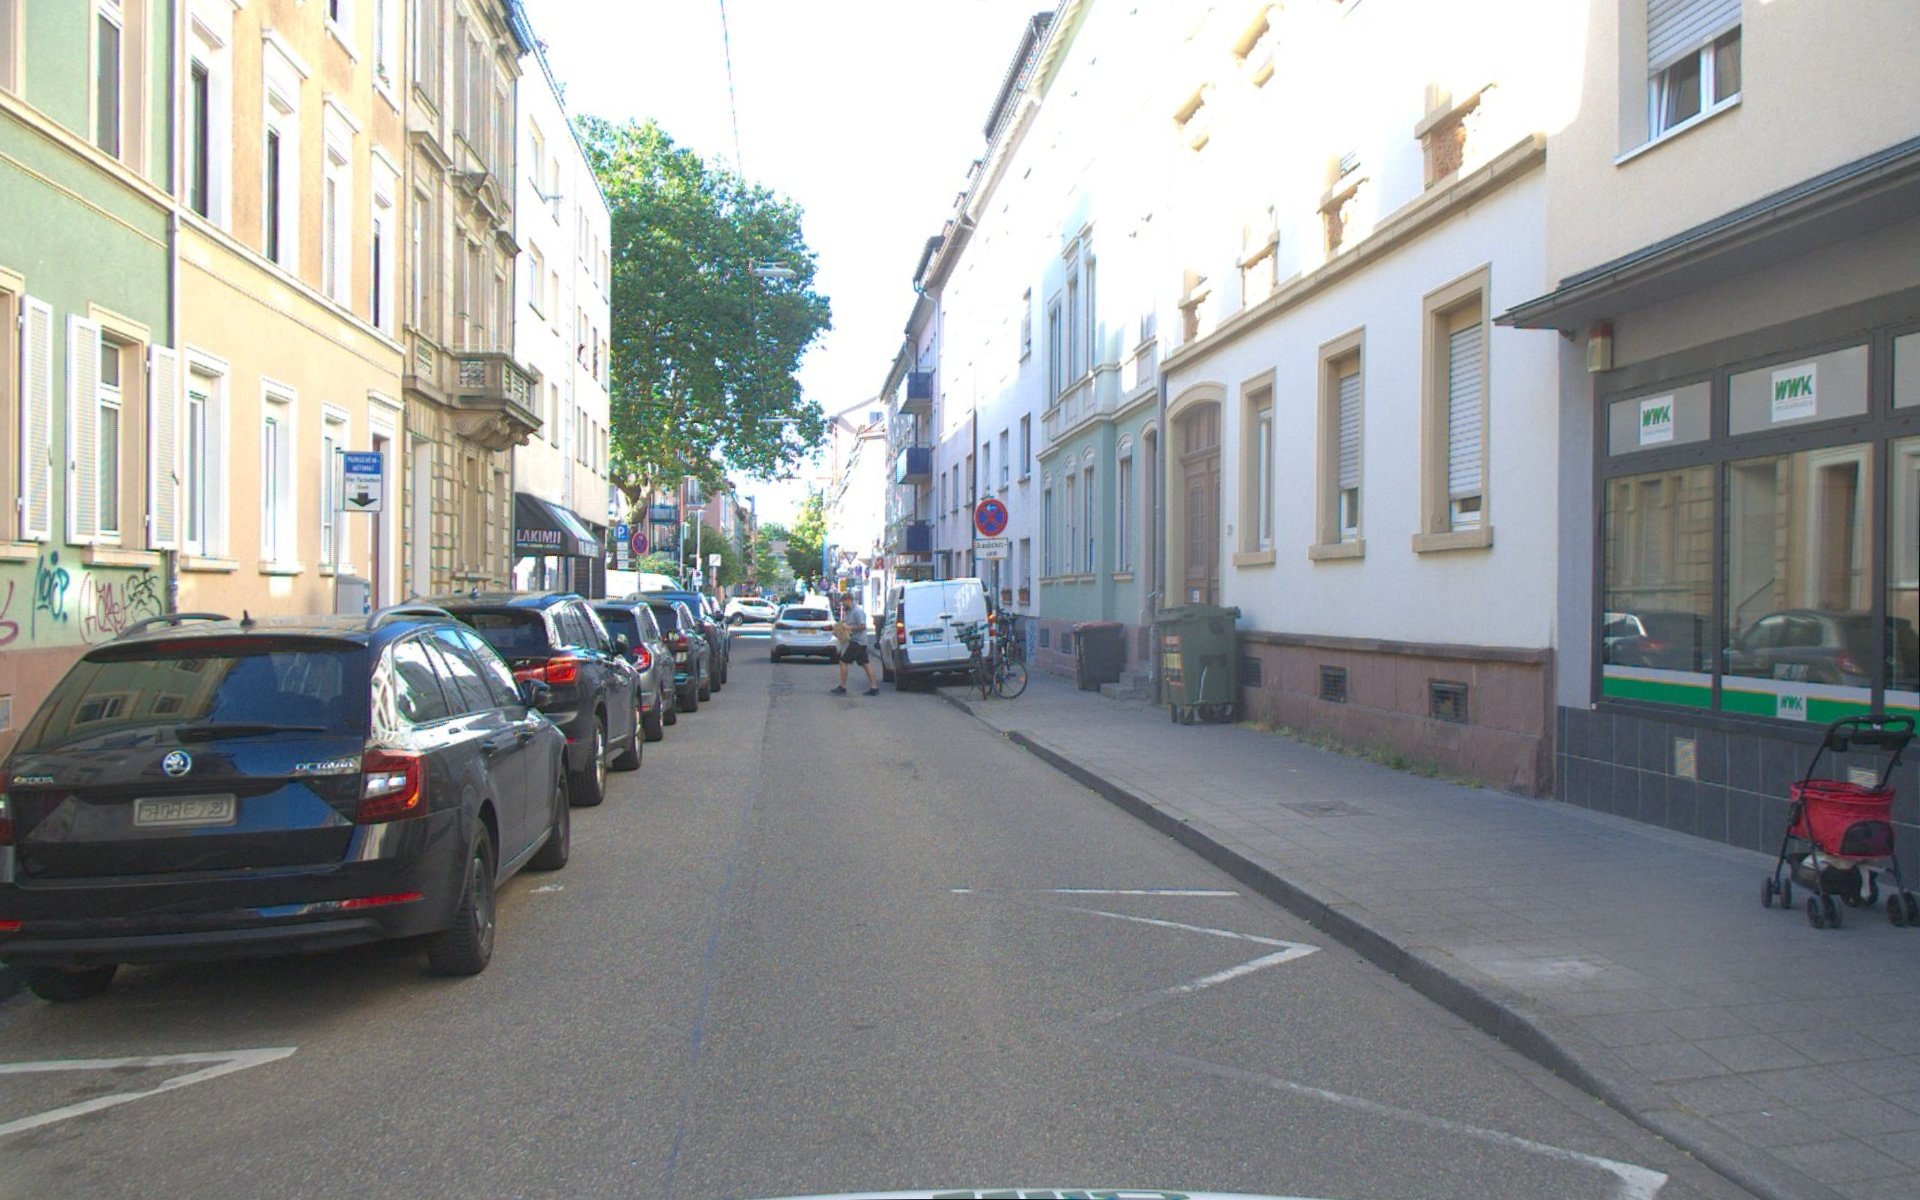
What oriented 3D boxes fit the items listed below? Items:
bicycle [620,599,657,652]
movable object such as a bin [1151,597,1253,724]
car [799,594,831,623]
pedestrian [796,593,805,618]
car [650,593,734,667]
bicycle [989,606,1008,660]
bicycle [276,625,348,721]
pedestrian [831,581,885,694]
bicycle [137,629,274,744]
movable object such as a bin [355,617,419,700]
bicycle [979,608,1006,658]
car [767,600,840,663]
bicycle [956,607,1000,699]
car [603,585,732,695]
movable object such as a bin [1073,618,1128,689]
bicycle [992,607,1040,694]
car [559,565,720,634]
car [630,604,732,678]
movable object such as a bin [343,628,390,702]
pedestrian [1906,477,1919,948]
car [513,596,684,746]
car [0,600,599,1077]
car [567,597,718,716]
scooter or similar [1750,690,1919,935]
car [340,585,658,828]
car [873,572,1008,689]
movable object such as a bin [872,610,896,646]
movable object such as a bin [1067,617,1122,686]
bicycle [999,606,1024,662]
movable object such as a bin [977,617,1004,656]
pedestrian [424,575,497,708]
[{"bbox_3d":[-8.642,0.709,44.527,0.456,1.355,1.854,4,-2,2],"label":"bicycle"},{"bbox_3d":[2.836,0.705,19.531,0.821,1.414,1.295,-2,-2,-7],"label":"movable object such as a bin"},{"bbox_3d":[-9.980,0.578,113.664,1.906,1.982,4.070,1,0,-8],"label":"car"},{"bbox_3d":[-13.821,0.509,143.373,0.756,2.155,0.833,0,-1,-5],"label":"pedestrian"},{"bbox_3d":[-6.548,0.699,40.817,1.748,1.696,4.664,-1,0,-6],"label":"car"},{"bbox_3d":[0.905,0.770,38.840,0.429,1.227,2.266,0,-1,1],"label":"bicycle"},{"bbox_3d":[-7.614,0.834,19.481,0.394,1.074,1.833,0,-1,-9],"label":"bicycle"},{"bbox_3d":[-1.723,0.622,27.799,0.849,1.869,0.882,0,-1,-8],"label":"pedestrian"},{"bbox_3d":[-7.325,0.813,16.148,0.353,1.046,1.918,0,-1,3],"label":"bicycle"},{"bbox_3d":[-7.892,0.794,22.796,0.722,1.108,0.681,0,1,-10],"label":"movable object such as a bin"},{"bbox_3d":[0.780,0.792,39.921,0.557,1.173,1.867,0,-1,-1],"label":"bicycle"},{"bbox_3d":[-4.062,0.770,42.596,1.789,1.540,3.818,0,0,-7],"label":"car"},{"bbox_3d":[0.262,0.796,25.692,0.563,1.344,2.198,-1,0,-2],"label":"bicycle"},{"bbox_3d":[-5.161,0.656,29.738,1.899,1.766,5.135,-1,0,-6],"label":"car"},{"bbox_3d":[2.217,0.835,26.088,0.781,1.115,0.641,0,-1,-4],"label":"movable object such as a bin"},{"bbox_3d":[0.866,0.767,26.083,0.563,1.293,2.198,-2,0,-2],"label":"bicycle"},{"bbox_3d":[-14.091,0.010,73.030,6.608,2.599,2.143,3,-1,-5],"label":"car"},{"bbox_3d":[-5.907,0.847,35.480,1.810,1.442,4.811,-1,-1,-6],"label":"car"},{"bbox_3d":[-7.910,0.863,22.059,0.463,0.954,0.560,2,0,-8],"label":"movable object such as a bin"},{"bbox_3d":[4.277,0.442,6.474,0.641,1.892,0.742,-2,1,-28],"label":"pedestrian"},{"bbox_3d":[-4.157,0.747,19.513,1.585,1.581,3.972,0,0,-7],"label":"car"},{"bbox_3d":[-2.863,0.797,7.946,1.681,1.514,4.845,-2,0,-7],"label":"car"},{"bbox_3d":[-4.551,0.752,24.260,1.680,1.558,4.362,-1,0,-5],"label":"car"},{"bbox_3d":[3.989,0.919,7.409,0.480,0.961,0.868,-1,1,1],"label":"scooter or similar"},{"bbox_3d":[-3.605,0.715,13.751,1.710,1.643,4.598,-1,0,-5],"label":"car"},{"bbox_3d":[-0.487,0.521,31.601,1.946,1.916,5.592,-3,0,-6],"label":"car"},{"bbox_3d":[-2.367,0.873,51.435,0.718,1.100,0.703,0,-1,-5],"label":"movable object such as a bin"},{"bbox_3d":[2.170,0.823,26.757,0.796,1.107,0.673,0,-1,-4],"label":"movable object such as a bin"},{"bbox_3d":[1.161,0.755,37.527,0.397,1.227,2.158,0,-1,-3],"label":"bicycle"},{"bbox_3d":[0.748,0.909,41.191,0.566,0.940,0.607,-2,0,-6],"label":"movable object such as a bin"},{"bbox_3d":[-6.730,0.542,22.320,0.750,1.744,0.882,2,0,-7],"label":"pedestrian"}]
